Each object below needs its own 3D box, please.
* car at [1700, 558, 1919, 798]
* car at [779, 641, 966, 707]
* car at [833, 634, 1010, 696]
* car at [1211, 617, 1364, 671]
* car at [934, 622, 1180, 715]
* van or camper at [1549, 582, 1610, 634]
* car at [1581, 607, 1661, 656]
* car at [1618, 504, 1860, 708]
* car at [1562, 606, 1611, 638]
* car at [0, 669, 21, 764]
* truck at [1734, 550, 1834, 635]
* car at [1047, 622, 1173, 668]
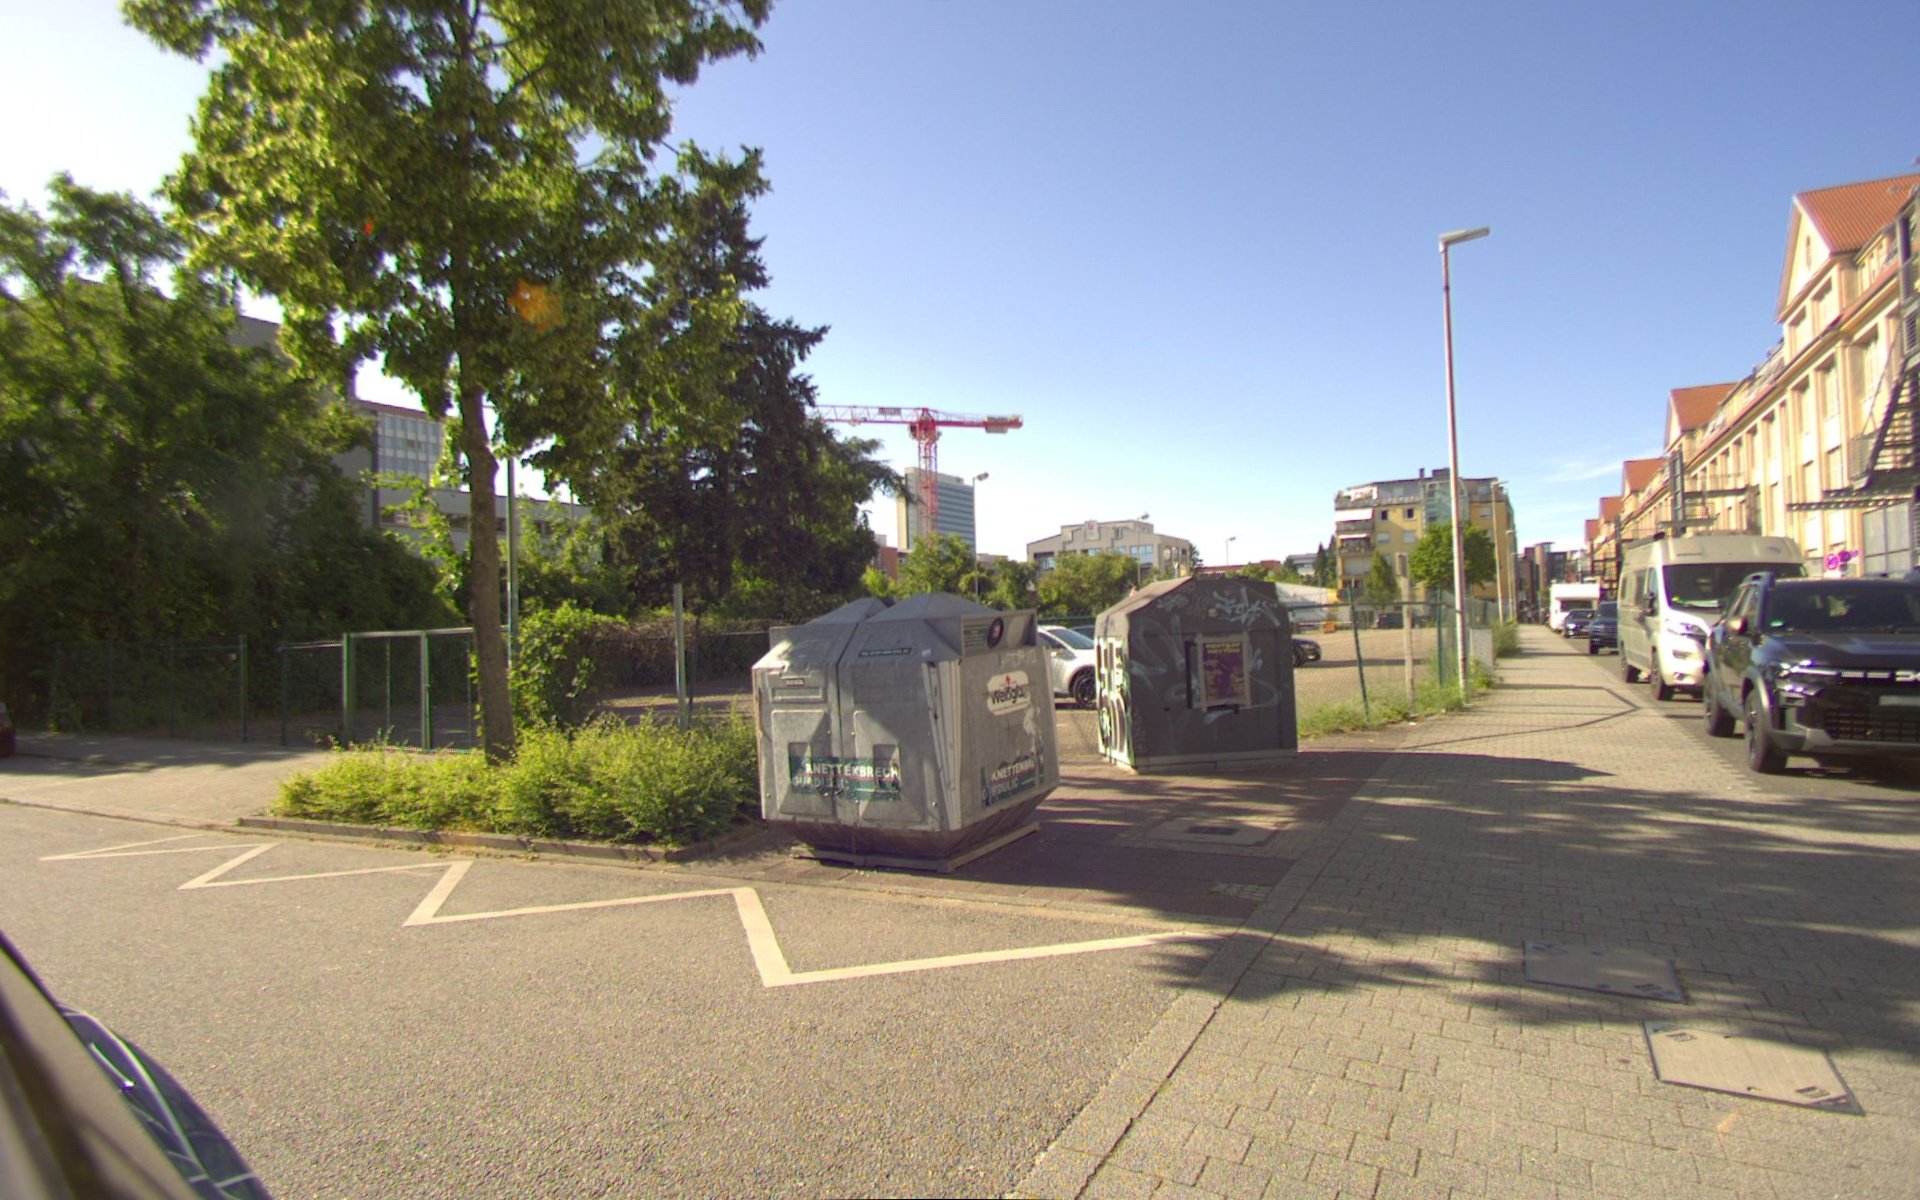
[{"bbox_3d":[8.004,0.569,8.907,1.993,1.708,4.059,-2,-2,31],"label":"car"},{"bbox_3d":[-2.212,1.832,25.282,4.361,1.467,1.951,-3,-2,33],"label":"car"},{"bbox_3d":[-1.061,1.737,27.022,4.361,1.506,1.951,-3,-2,33],"label":"car"},{"bbox_3d":[10.350,1.407,32.086,4.230,1.572,1.876,-3,-2,33],"label":"car"},{"bbox_3d":[1.880,1.347,20.115,4.413,1.622,1.978,-3,-2,33],"label":"car"},{"bbox_3d":[36.829,0.476,60.337,2.712,2.879,5.085,-2,-1,28],"label":"van or camper"},{"bbox_3d":[20.903,0.980,32.142,1.844,1.436,4.181,-2,-2,30],"label":"car"},{"bbox_3d":[12.103,0.135,16.226,2.156,2.616,6.219,-2,-2,30],"label":"car"},{"bbox_3d":[30.514,1.051,49.415,1.844,1.436,4.181,-2,-2,30],"label":"car"},{"bbox_3d":[-17.084,1.949,16.372,3.530,1.485,1.707,-3,0,28],"label":"car"},{"bbox_3d":[36.932,-0.285,45.589,2.493,3.457,7.050,-2,-1,32],"label":"truck"},{"bbox_3d":[5.575,1.682,37.773,4.225,1.572,1.878,-3,-2,30],"label":"car"}]
